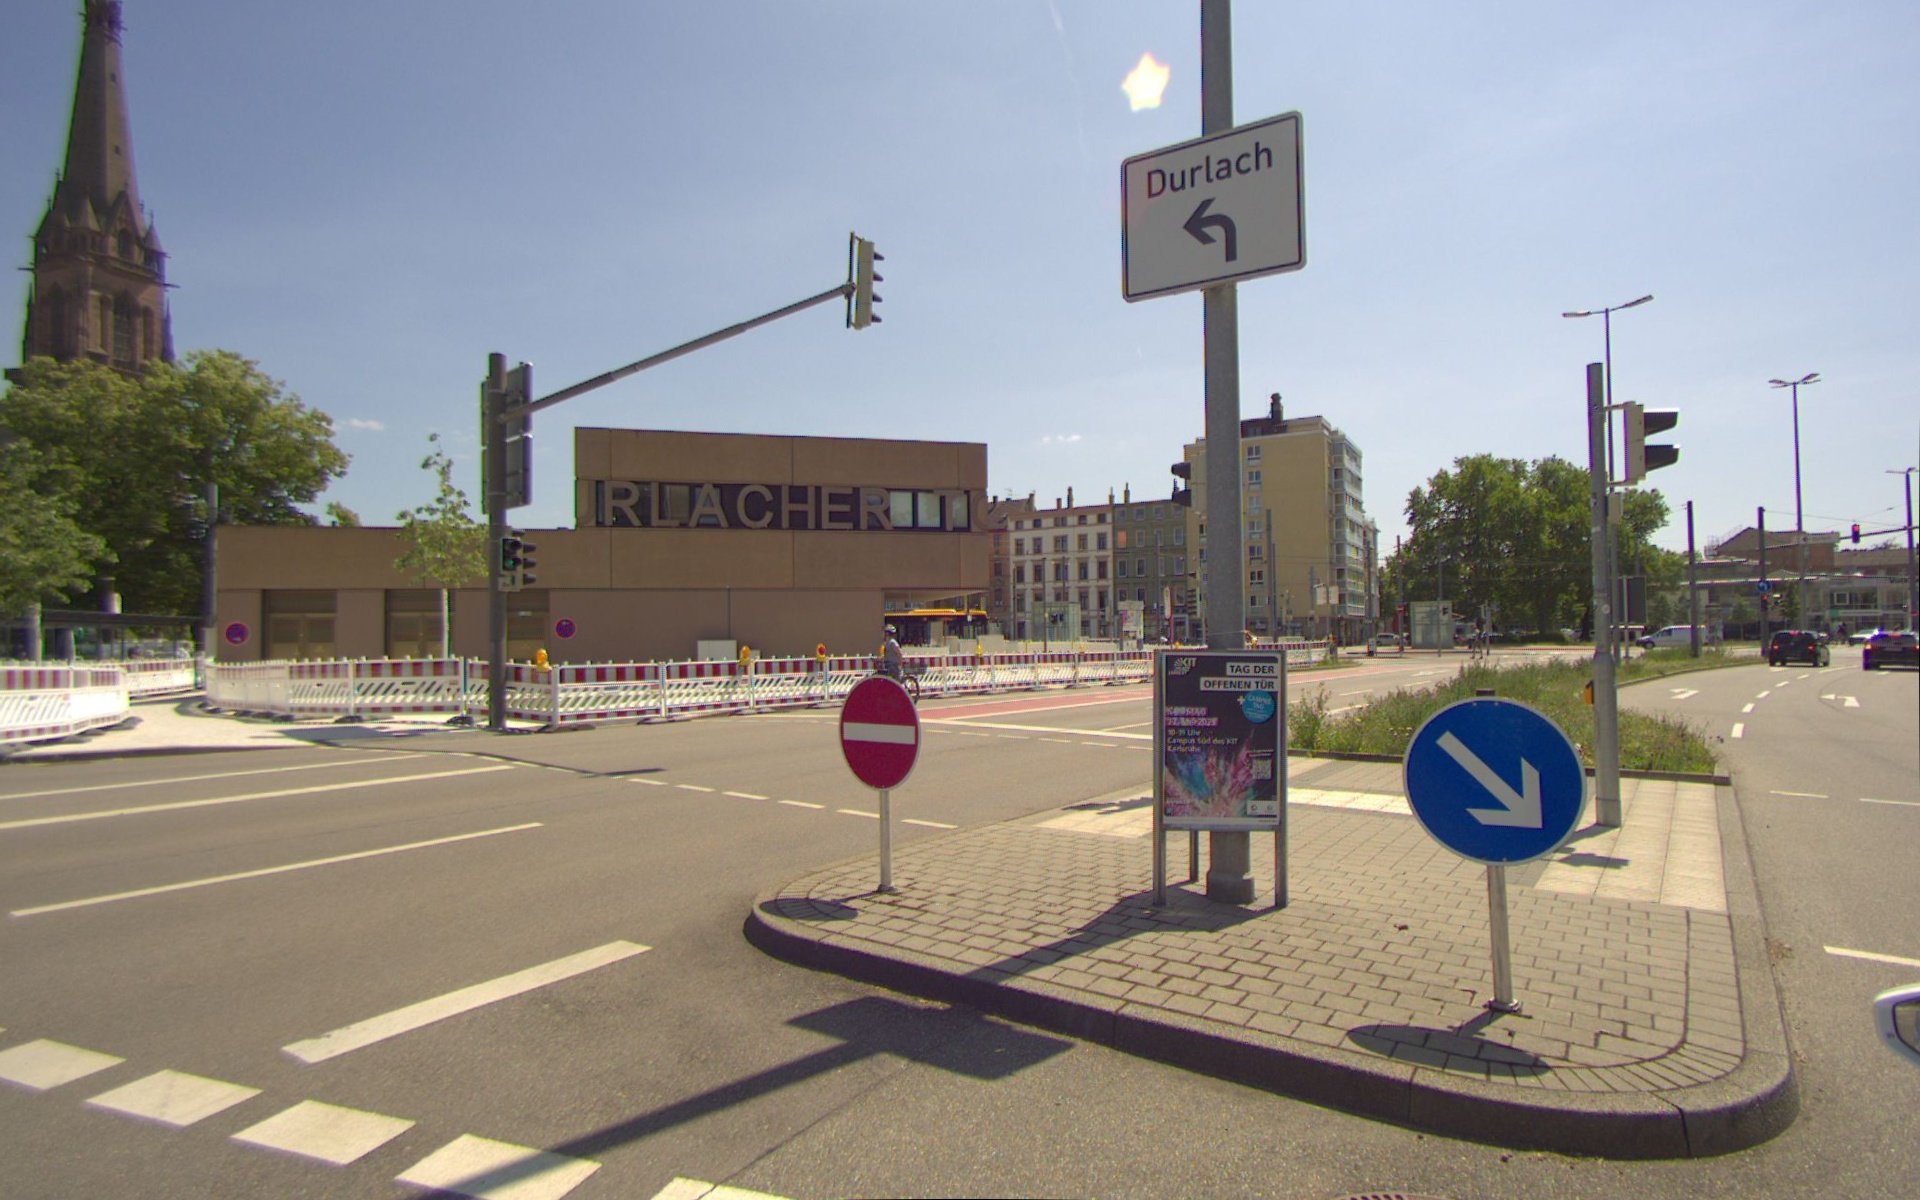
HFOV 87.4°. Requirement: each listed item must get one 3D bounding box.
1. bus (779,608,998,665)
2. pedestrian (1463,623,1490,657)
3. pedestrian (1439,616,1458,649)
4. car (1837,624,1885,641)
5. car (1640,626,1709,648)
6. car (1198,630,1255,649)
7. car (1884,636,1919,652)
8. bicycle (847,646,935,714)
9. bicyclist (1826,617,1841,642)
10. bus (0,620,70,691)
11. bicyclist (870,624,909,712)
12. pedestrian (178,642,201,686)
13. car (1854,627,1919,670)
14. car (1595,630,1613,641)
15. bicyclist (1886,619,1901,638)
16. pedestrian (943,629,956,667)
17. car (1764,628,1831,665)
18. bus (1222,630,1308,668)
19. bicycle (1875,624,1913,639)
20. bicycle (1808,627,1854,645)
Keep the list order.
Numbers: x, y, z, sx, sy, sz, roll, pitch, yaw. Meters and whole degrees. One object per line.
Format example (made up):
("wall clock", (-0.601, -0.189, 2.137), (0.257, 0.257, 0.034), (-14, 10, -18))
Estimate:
("bus", (-4.111, 2.052, 57.541), (12.050, 3.081, 3.728), (0, -2, -16))
("pedestrian", (30.244, 2.333, 58.813), (1.166, 1.959, 0.897), (-1, 0, 42))
("pedestrian", (44.877, 2.985, 92.241), (1.327, 2.977, 1.202), (-2, 0, -45))
("car", (78.849, 2.835, 87.875), (4.068, 1.408, 1.615), (0, -2, -25))
("car", (56.703, 2.959, 79.811), (4.243, 1.649, 1.811), (-2, 0, 29))
("car", (23.789, 3.524, 89.668), (4.560, 1.635, 1.671), (-2, 0, 34))
("car", (85.707, 3.981, 91.117), (3.490, 1.295, 1.534), (-2, 0, -25))
("bicycle", (-1.254, 1.460, 18.640), (0.516, 1.196, 1.891), (-2, -3, 37))
("bicyclist", (70.152, 2.368, 80.666), (0.836, 1.992, 0.623), (-1, 0, 41))
("bus", (-47.037, 2.614, 45.042), (10.423, 3.094, 2.847), (-2, 0, -14))
("bicyclist", (-1.300, 1.254, 18.607), (0.523, 1.600, 0.496), (-2, -3, 37))
("pedestrian", (-34.458, 2.851, 44.936), (0.597, 1.882, 0.696), (-2, 0, -20))
("car", (36.556, 1.863, 39.421), (4.553, 1.577, 1.701), (1, -3, -42))
("car", (86.487, 4.755, 134.807), (1.493, 1.437, 3.401), (-2, 0, 42))
("bicyclist", (75.205, 2.282, 80.922), (0.721, 1.499, 0.654), (-1, 0, 30))
("pedestrian", (-0.560, 2.606, 54.668), (0.651, 2.022, 0.611), (-1, 0, -1))
("car", (35.419, 1.941, 42.441), (3.970, 1.482, 1.607), (1, -2, -42))
("bus", (12.991, 2.028, 42.495), (1.230, 1.266, 5.790), (-2, 0, 41))
("bicycle", (75.278, 2.549, 80.971), (2.130, 1.122, 0.455), (-2, 0, 31))
("bicycle", (70.042, 2.867, 80.765), (2.744, 1.404, 0.667), (-2, 0, 42))
